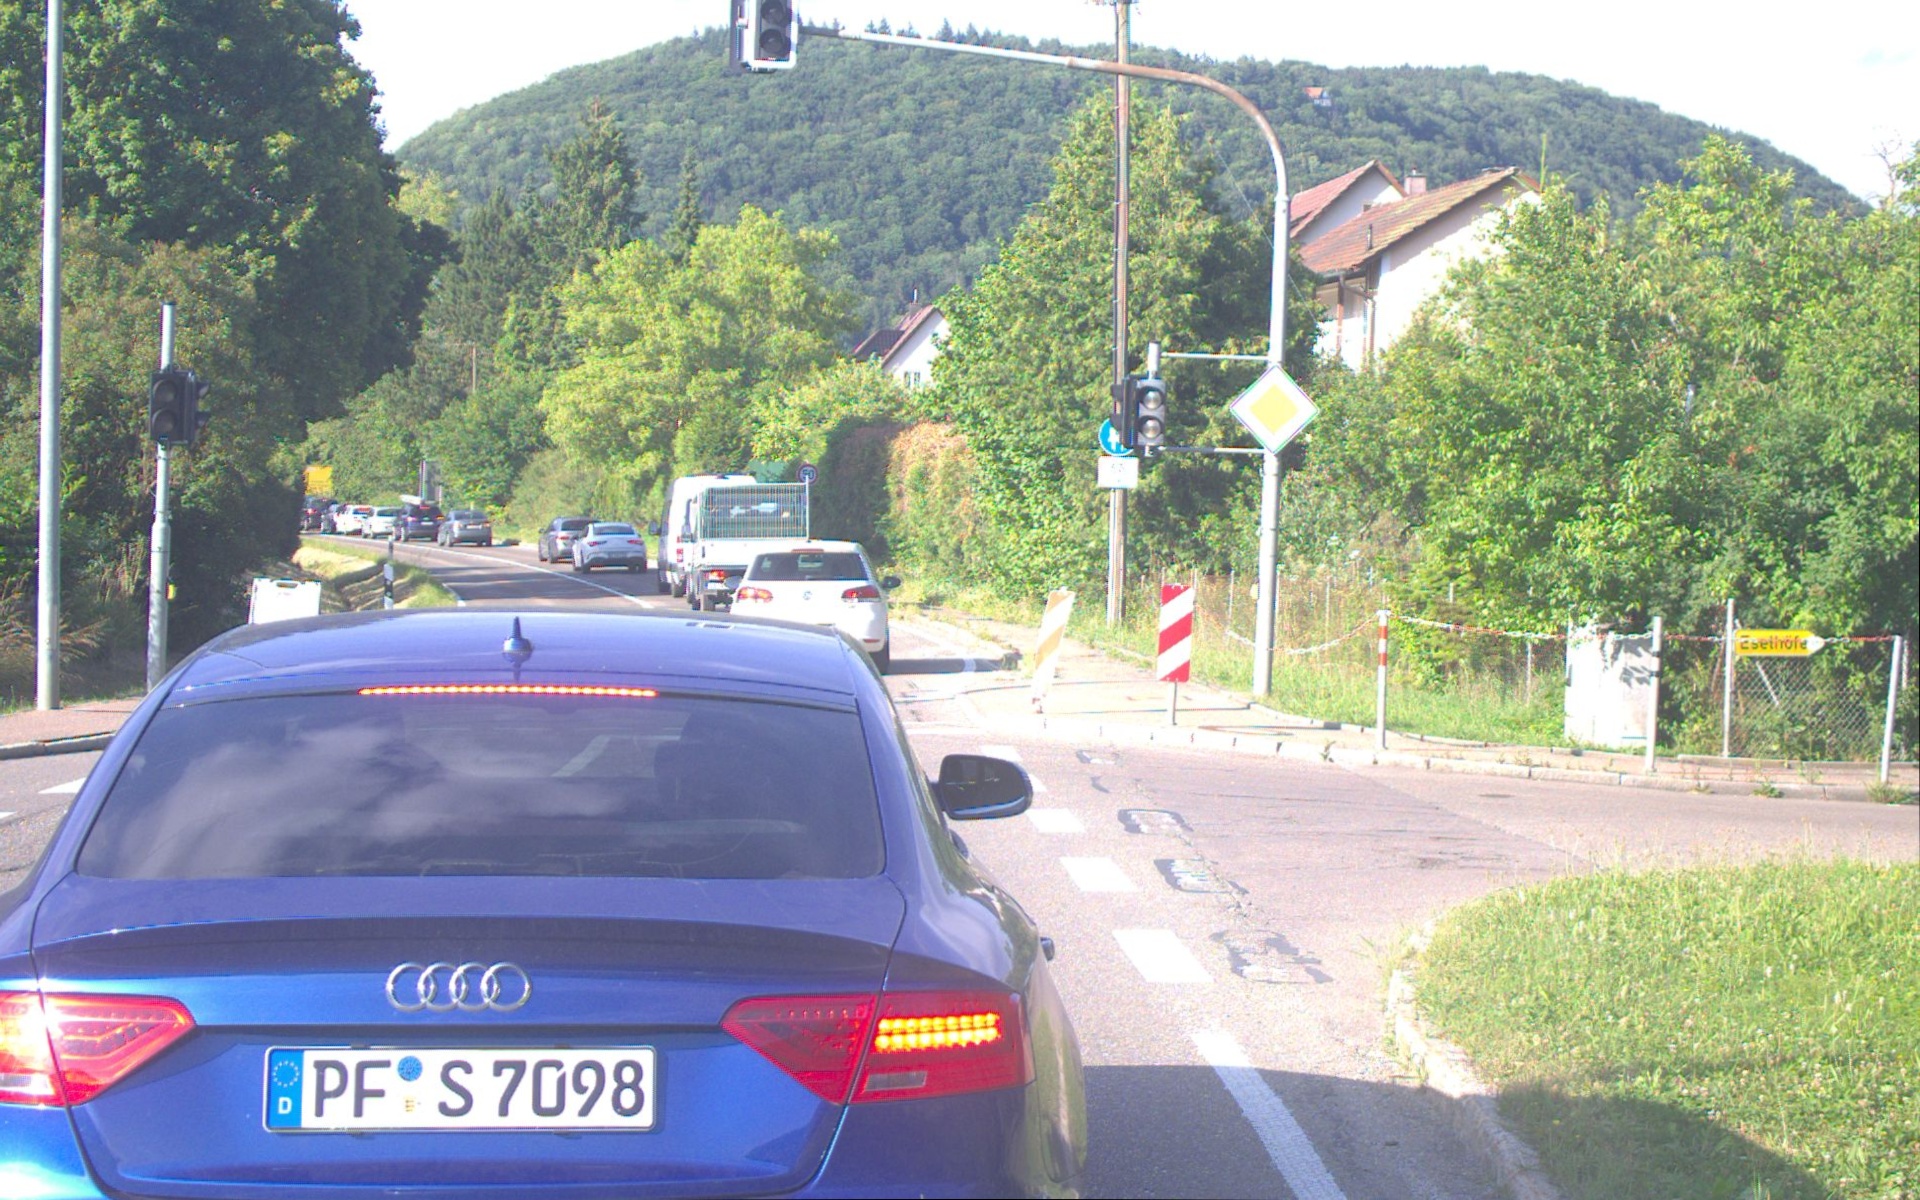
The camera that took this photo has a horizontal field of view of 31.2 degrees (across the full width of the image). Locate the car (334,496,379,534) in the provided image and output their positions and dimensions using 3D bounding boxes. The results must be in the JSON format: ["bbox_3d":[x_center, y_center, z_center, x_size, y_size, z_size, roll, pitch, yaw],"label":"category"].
[{"bbox_3d":[-29.008,-4.080,165.190,1.748,1.776,4.001,-1,1,-16],"label":"car"}]

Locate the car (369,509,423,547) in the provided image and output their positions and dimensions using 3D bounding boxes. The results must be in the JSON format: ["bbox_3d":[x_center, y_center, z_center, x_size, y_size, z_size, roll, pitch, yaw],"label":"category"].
[{"bbox_3d":[-25.668,-3.266,156.381,1.941,1.678,4.001,-1,1,-16],"label":"car"}]

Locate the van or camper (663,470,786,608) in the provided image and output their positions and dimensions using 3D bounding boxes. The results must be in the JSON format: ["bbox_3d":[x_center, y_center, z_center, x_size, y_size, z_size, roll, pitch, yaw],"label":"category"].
[{"bbox_3d":[-5.224,-1.368,75.467,2.414,2.894,6.133,0,2,-6],"label":"van or camper"}]

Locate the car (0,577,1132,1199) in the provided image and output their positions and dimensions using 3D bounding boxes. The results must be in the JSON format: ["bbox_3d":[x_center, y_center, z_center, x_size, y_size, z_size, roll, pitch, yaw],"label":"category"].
[{"bbox_3d":[-0.777,0.698,6.478,1.829,1.404,4.227,-1,1,-2],"label":"car"}]

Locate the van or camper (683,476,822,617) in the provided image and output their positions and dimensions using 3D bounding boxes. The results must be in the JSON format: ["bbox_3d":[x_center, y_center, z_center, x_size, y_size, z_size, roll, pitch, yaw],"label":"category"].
[{"bbox_3d":[-3.729,-0.983,60.855,2.179,2.377,5.371,0,2,-6],"label":"van or camper"}]

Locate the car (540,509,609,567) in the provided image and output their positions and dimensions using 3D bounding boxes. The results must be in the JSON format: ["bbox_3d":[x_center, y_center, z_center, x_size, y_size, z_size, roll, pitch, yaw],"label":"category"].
[{"bbox_3d":[-12.258,-1.970,109.036,1.796,1.787,4.001,-1,1,-12],"label":"car"}]

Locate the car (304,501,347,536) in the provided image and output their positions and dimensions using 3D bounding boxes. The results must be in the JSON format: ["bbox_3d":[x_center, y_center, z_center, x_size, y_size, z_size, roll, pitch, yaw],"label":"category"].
[{"bbox_3d":[-32.781,-4.195,177.561,1.771,1.776,4.001,-1,1,-16],"label":"car"}]

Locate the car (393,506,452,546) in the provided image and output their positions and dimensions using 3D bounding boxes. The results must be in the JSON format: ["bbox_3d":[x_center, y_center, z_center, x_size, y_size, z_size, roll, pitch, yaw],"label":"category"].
[{"bbox_3d":[-23.140,-3.214,147.939,2.040,1.678,4.001,0,2,-16],"label":"car"}]

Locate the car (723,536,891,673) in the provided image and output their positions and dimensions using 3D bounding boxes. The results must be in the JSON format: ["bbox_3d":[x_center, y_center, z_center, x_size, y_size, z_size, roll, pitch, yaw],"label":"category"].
[{"bbox_3d":[-1.723,0.015,39.183,1.771,1.410,4.174,2,1,-2],"label":"car"}]

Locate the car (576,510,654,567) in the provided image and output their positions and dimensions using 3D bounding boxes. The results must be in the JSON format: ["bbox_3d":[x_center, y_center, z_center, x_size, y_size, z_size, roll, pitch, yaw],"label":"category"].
[{"bbox_3d":[-9.785,-1.760,97.331,1.819,1.546,4.001,0,2,-11],"label":"car"}]

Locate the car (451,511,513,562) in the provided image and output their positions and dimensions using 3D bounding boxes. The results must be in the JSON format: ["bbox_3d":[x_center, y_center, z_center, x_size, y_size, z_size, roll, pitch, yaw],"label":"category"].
[{"bbox_3d":[-19.003,-2.530,136.493,1.993,2.007,4.001,0,1,-15],"label":"car"}]
